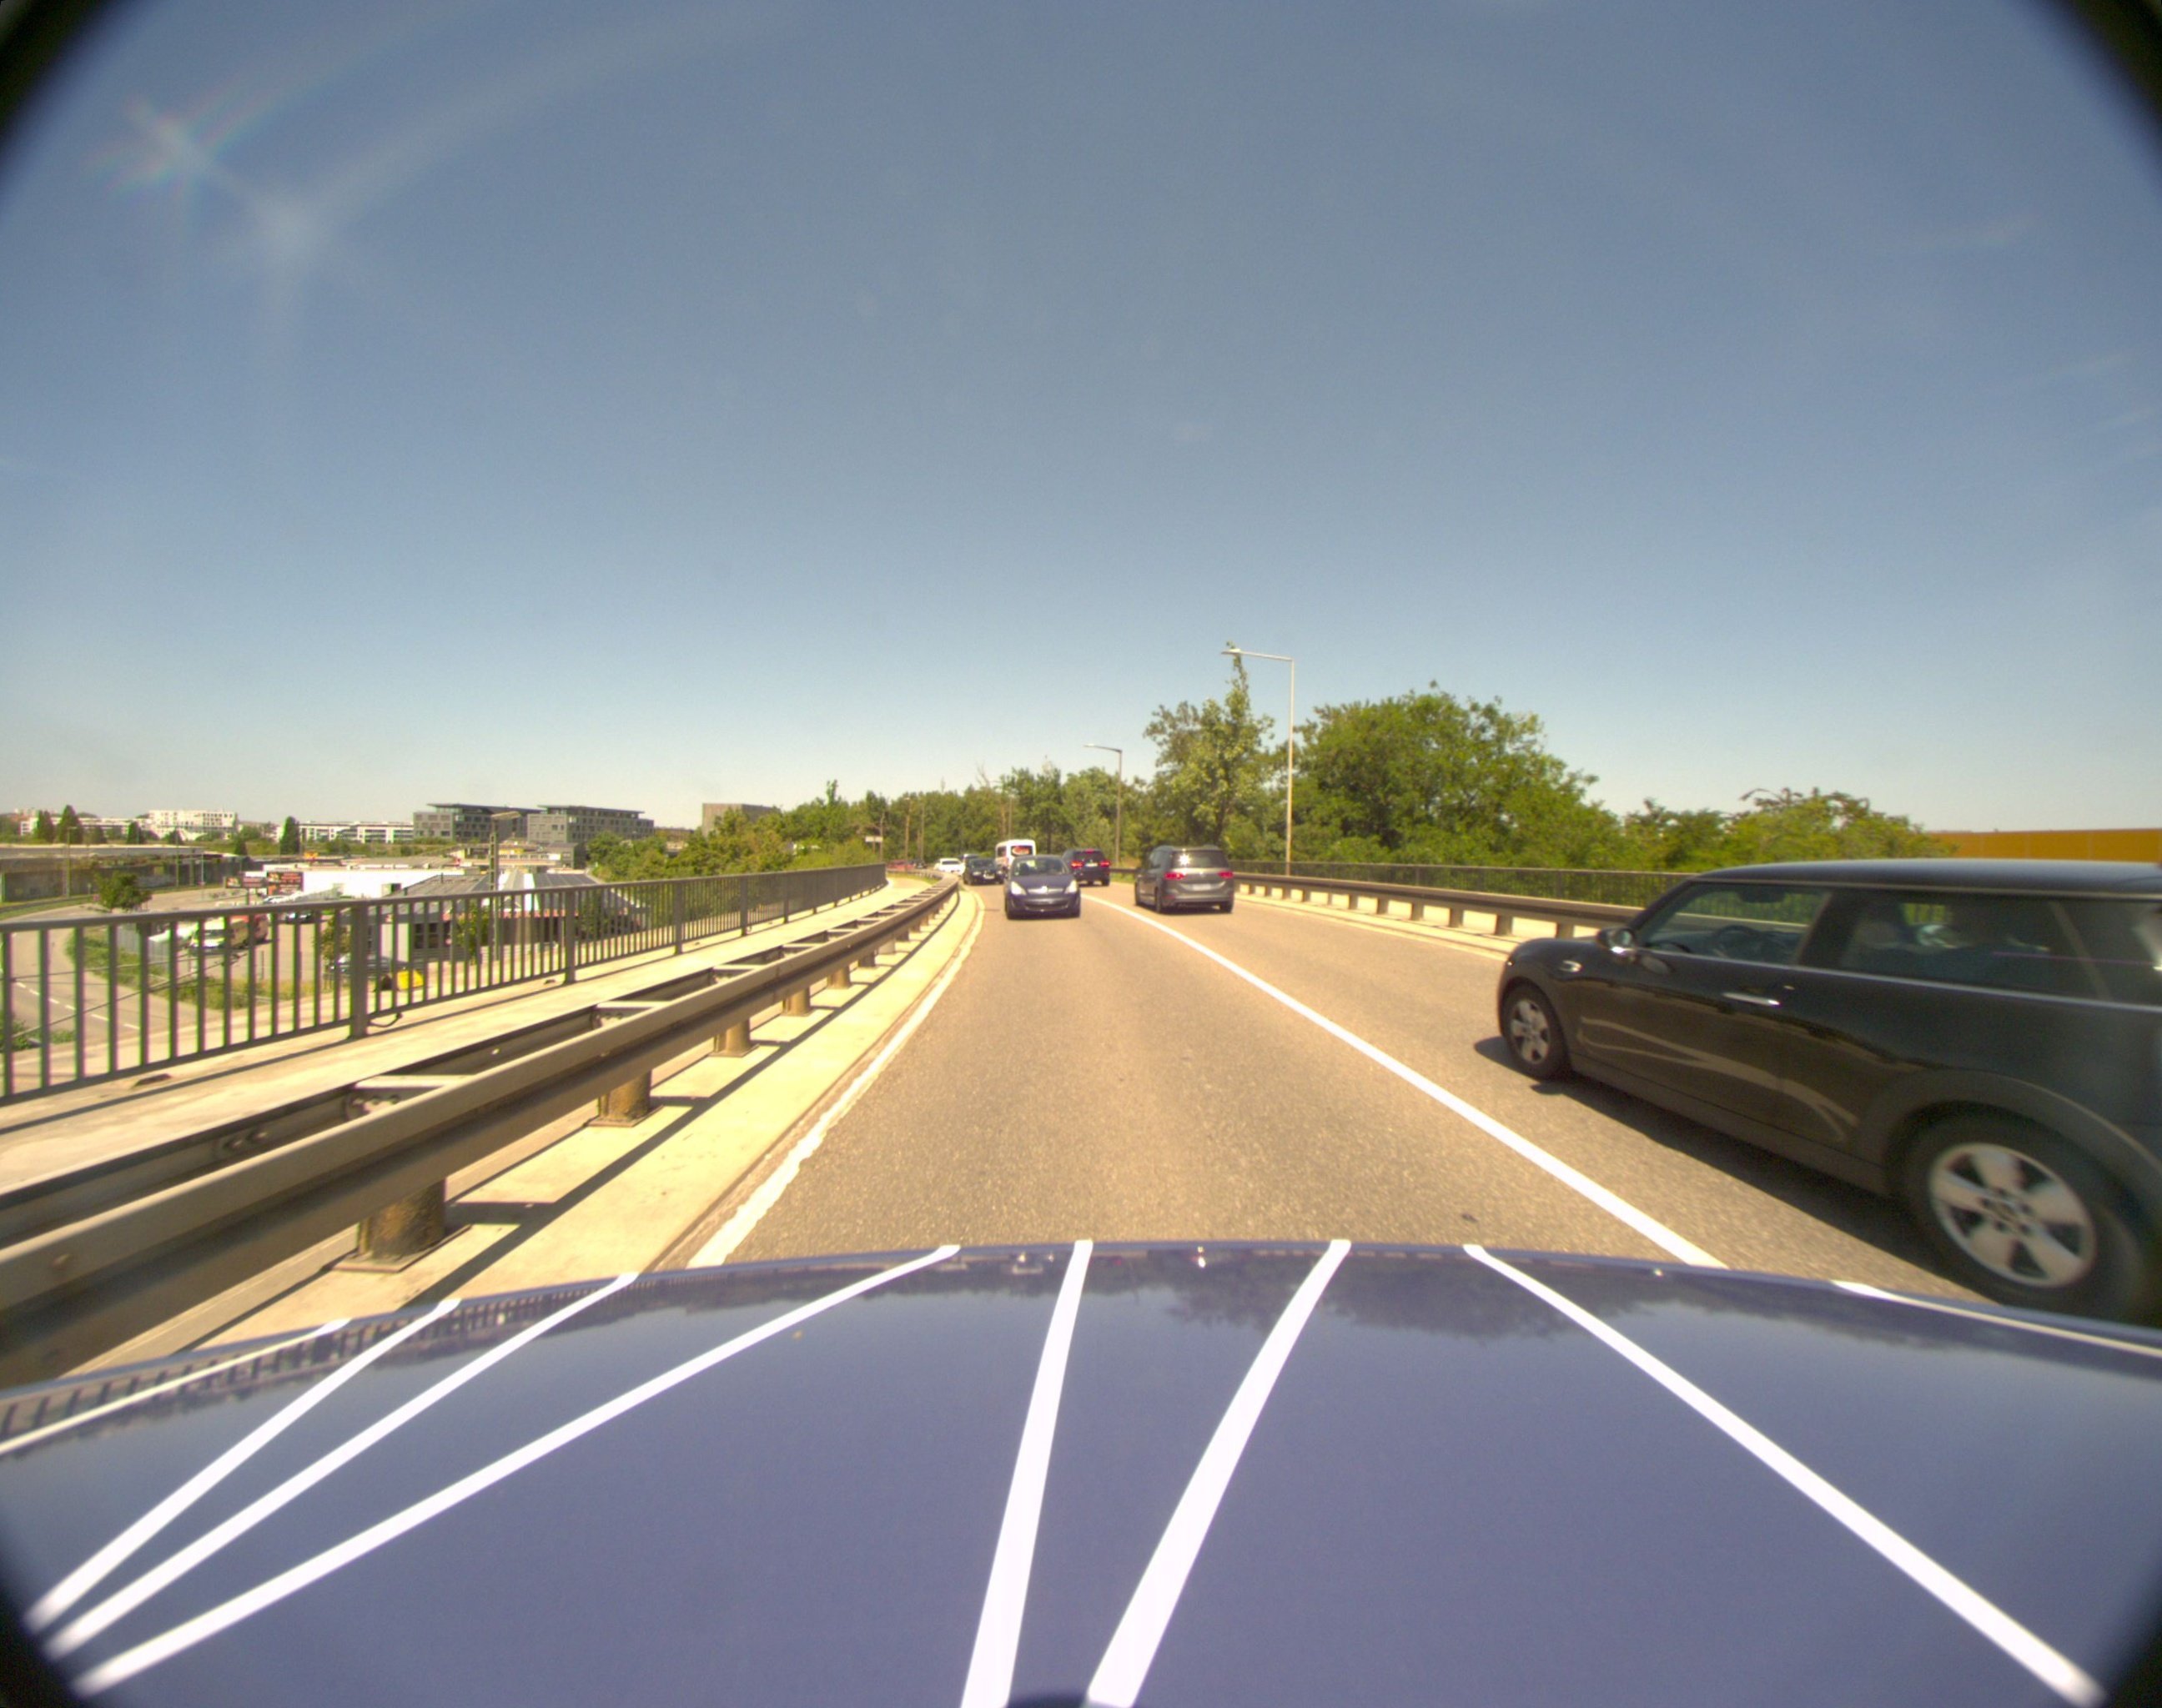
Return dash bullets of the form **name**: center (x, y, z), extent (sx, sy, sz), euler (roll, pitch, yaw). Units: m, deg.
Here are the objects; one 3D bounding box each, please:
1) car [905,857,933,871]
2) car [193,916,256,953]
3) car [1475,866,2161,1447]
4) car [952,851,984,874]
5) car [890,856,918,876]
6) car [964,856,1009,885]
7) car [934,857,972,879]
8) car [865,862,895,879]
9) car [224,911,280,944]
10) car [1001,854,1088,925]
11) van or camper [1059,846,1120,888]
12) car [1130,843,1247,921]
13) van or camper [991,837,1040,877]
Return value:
- **car**: center (-17.038, 1.031, 79.885), extent (1.764, 1.434, 4.558), euler (-2, 1, -26)
- **car**: center (-69.336, 6.446, 61.606), extent (2.155, 2.339, 4.917), euler (-7, 3, -35)
- **car**: center (3.751, 0.838, 3.570), extent (1.794, 1.411, 3.772), euler (0, 1, -1)
- **car**: center (-9.939, 0.719, 66.657), extent (1.764, 1.844, 4.267), euler (-2, 1, -23)
- **car**: center (-16.841, 1.121, 72.198), extent (1.904, 1.645, 4.249), euler (-1, 2, -22)
- **car**: center (-5.056, 0.837, 40.244), extent (1.571, 1.408, 4.116), euler (-2, 1, -18)
- **car**: center (-8.862, 0.936, 52.373), extent (1.819, 1.420, 3.708), euler (-2, 1, -21)
- **car**: center (-23.845, 1.986, 90.027), extent (1.723, 1.420, 4.099), euler (-14, 3, -37)
- **car**: center (-73.331, 6.436, 67.289), extent (2.155, 2.339, 4.916), euler (-7, 3, -36)
- **car**: center (-1.017, 0.772, 18.665), extent (1.699, 1.459, 4.380), euler (-2, 1, -8)
- **van or camper**: center (0.303, 0.512, 34.739), extent (2.000, 1.751, 4.693), euler (-1, 1, -9)
- **car**: center (2.540, 0.593, 19.071), extent (1.901, 1.645, 4.254), euler (-1, 2, -6)
- **van or camper**: center (-4.610, 0.223, 52.802), extent (2.056, 2.523, 5.874), euler (-3, 1, -17)
